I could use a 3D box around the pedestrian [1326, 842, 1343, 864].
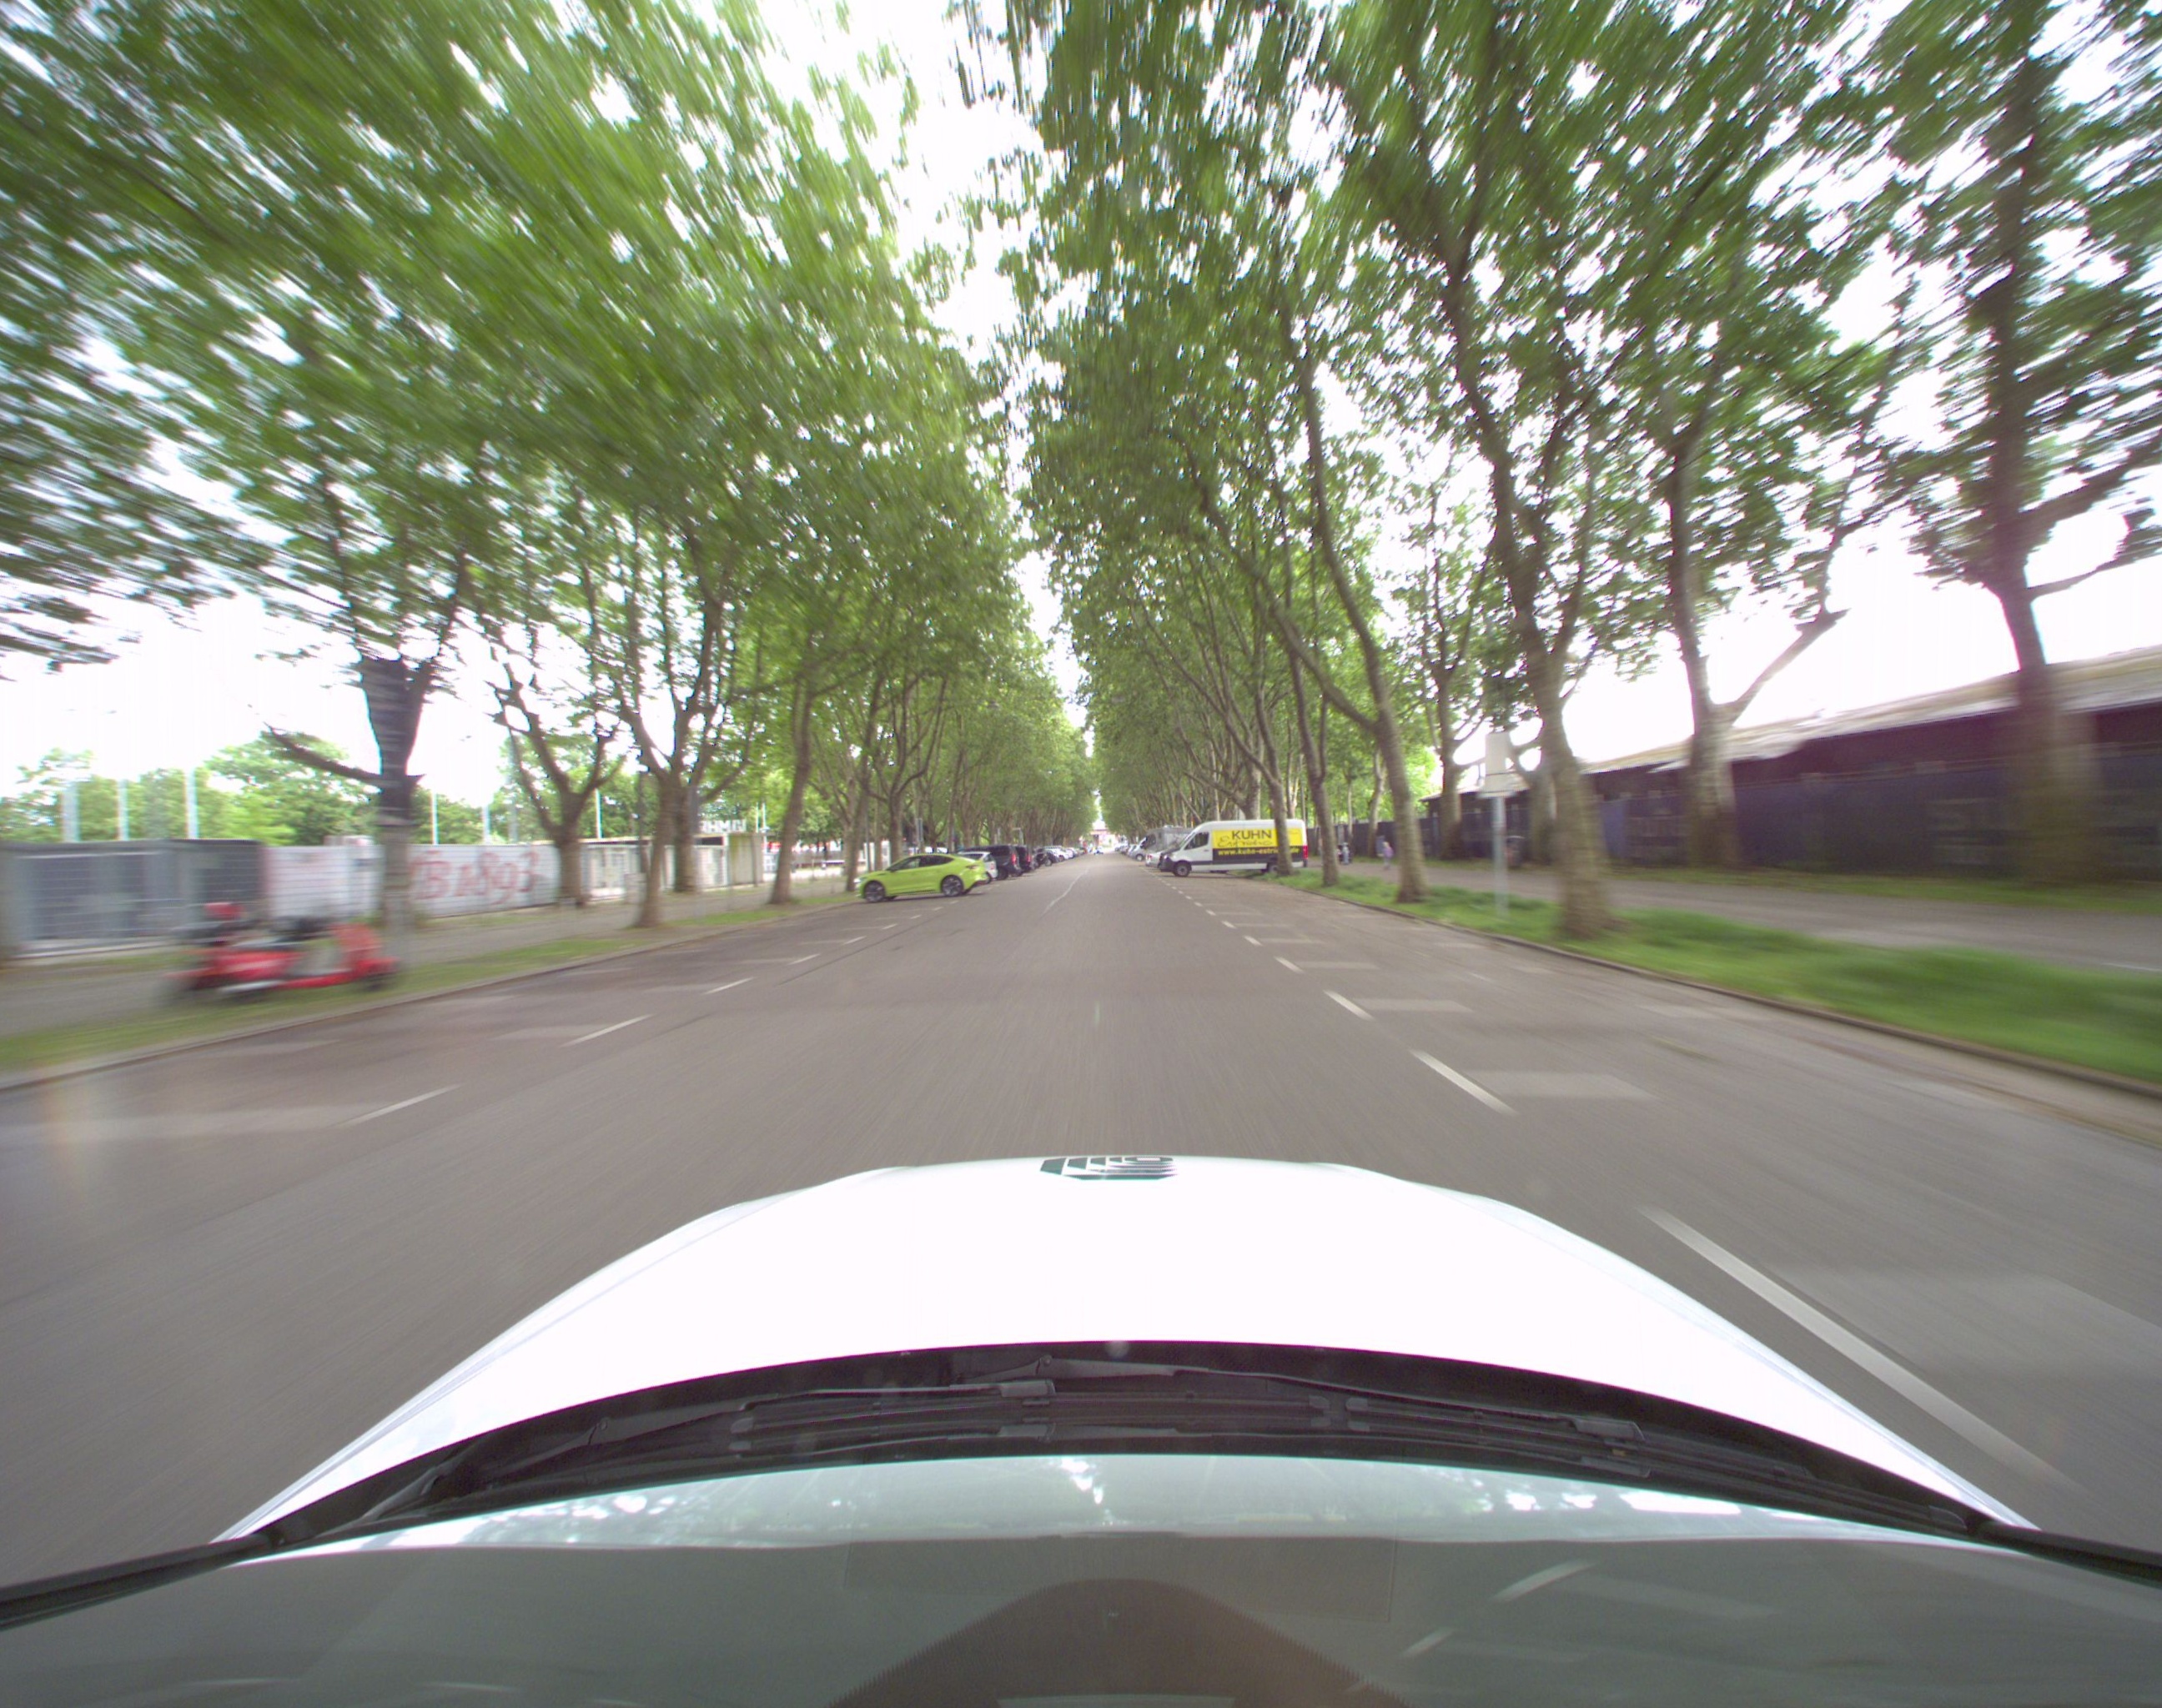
[{"bbox_3d":[12.496,-0.040,40.228,0.637,1.059,0.676,-1,0,3],"label":"pedestrian"}]

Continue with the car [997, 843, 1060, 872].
[{"bbox_3d":[-4.718,0.304,73.405,5.418,2.127,1.940,-4,1,0],"label":"car"}]

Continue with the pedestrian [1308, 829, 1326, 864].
[{"bbox_3d":[11.939,-0.372,41.263,0.636,1.741,0.621,-4,1,5],"label":"pedestrian"}]

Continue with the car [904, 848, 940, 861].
[{"bbox_3d":[-28.576,0.045,146.705,5.980,2.252,2.001,-2,0,1],"label":"car"}]

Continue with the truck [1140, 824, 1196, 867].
[{"bbox_3d":[6.287,-0.621,59.955,2.456,2.937,7.521,-2,0,-7],"label":"truck"}]

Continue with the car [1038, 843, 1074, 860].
[{"bbox_3d":[-3.526,-0.315,115.269,4.877,2.019,1.920,-4,0,0],"label":"car"}]

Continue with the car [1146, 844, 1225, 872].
[{"bbox_3d":[5.899,0.199,46.243,4.338,1.445,1.615,-1,0,5],"label":"car"}]

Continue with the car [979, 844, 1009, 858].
[{"bbox_3d":[-17.678,-0.626,166.477,5.764,2.597,2.001,-2,0,2],"label":"car"}]

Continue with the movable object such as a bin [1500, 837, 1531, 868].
[{"bbox_3d":[14.208,-0.050,26.649,0.566,0.959,0.675,-7,0,1],"label":"movable object such as a bin"}]

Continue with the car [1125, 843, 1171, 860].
[{"bbox_3d":[6.355,-0.236,77.564,4.320,1.618,1.806,0,0,4],"label":"car"}]

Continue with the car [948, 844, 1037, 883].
[{"bbox_3d":[-5.248,0.538,48.861,4.886,1.924,2.209,-4,0,2],"label":"car"}]

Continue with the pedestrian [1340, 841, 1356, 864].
[{"bbox_3d":[13.220,-0.082,40.322,0.589,1.048,0.589,-4,1,5],"label":"pedestrian"}]

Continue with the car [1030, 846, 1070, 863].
[{"bbox_3d":[-3.517,0.069,92.396,4.366,1.596,2.000,-4,0,-1],"label":"car"}]

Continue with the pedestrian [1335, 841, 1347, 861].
[{"bbox_3d":[13.366,-0.150,41.899,0.421,1.035,0.392,-2,0,-38],"label":"pedestrian"}]

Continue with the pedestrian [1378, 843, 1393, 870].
[{"bbox_3d":[12.457,0.112,33.308,0.393,1.084,0.419,-5,0,5],"label":"pedestrian"}]

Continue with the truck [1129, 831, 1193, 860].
[{"bbox_3d":[8.087,-0.840,82.413,6.265,2.715,2.100,-2,0,4],"label":"truck"}]

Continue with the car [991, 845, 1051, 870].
[{"bbox_3d":[-4.891,0.290,66.295,4.652,1.820,1.800,-3,-1,-9],"label":"car"}]

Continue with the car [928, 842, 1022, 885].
[{"bbox_3d":[-5.644,0.478,43.895,4.751,1.924,2.016,-4,0,-3],"label":"car"}]

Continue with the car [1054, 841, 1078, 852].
[{"bbox_3d":[-2.445,-1.233,132.507,3.816,1.627,1.952,-4,0,-2],"label":"car"}]

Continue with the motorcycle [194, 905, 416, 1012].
[{"bbox_3d":[-10.274,1.335,10.882,0.568,1.158,2.089,-1,0,44],"label":"motorcycle"}]

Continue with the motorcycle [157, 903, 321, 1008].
[{"bbox_3d":[-11.479,1.326,11.209,0.574,1.158,2.066,-2,0,-15],"label":"motorcycle"}]

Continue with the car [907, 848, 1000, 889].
[{"bbox_3d":[-6.019,0.669,38.811,4.096,1.568,1.756,-5,0,-3],"label":"car"}]

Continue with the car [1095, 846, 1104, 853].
[{"bbox_3d":[3.702,-0.870,163.715,1.650,1.364,4.109,-5,0,-2],"label":"car"}]

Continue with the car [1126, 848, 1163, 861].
[{"bbox_3d":[7.201,0.025,92.457,4.102,1.429,1.704,0,0,3],"label":"car"}]

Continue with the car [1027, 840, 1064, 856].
[{"bbox_3d":[-4.367,-0.751,100.184,4.327,1.667,2.000,-5,0,-1],"label":"car"}]

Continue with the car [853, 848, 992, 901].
[{"bbox_3d":[-5.597,0.706,29.058,4.496,1.618,1.760,-3,0,4],"label":"car"}]

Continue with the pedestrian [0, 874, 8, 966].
[{"bbox_3d":[-21.185,1.282,15.346,0.701,1.754,0.874,-1,0,1],"label":"pedestrian"}]

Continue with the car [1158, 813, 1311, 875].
[{"bbox_3d":[7.180,-0.459,38.704,6.852,2.695,2.129,-2,0,2],"label":"car"}]
